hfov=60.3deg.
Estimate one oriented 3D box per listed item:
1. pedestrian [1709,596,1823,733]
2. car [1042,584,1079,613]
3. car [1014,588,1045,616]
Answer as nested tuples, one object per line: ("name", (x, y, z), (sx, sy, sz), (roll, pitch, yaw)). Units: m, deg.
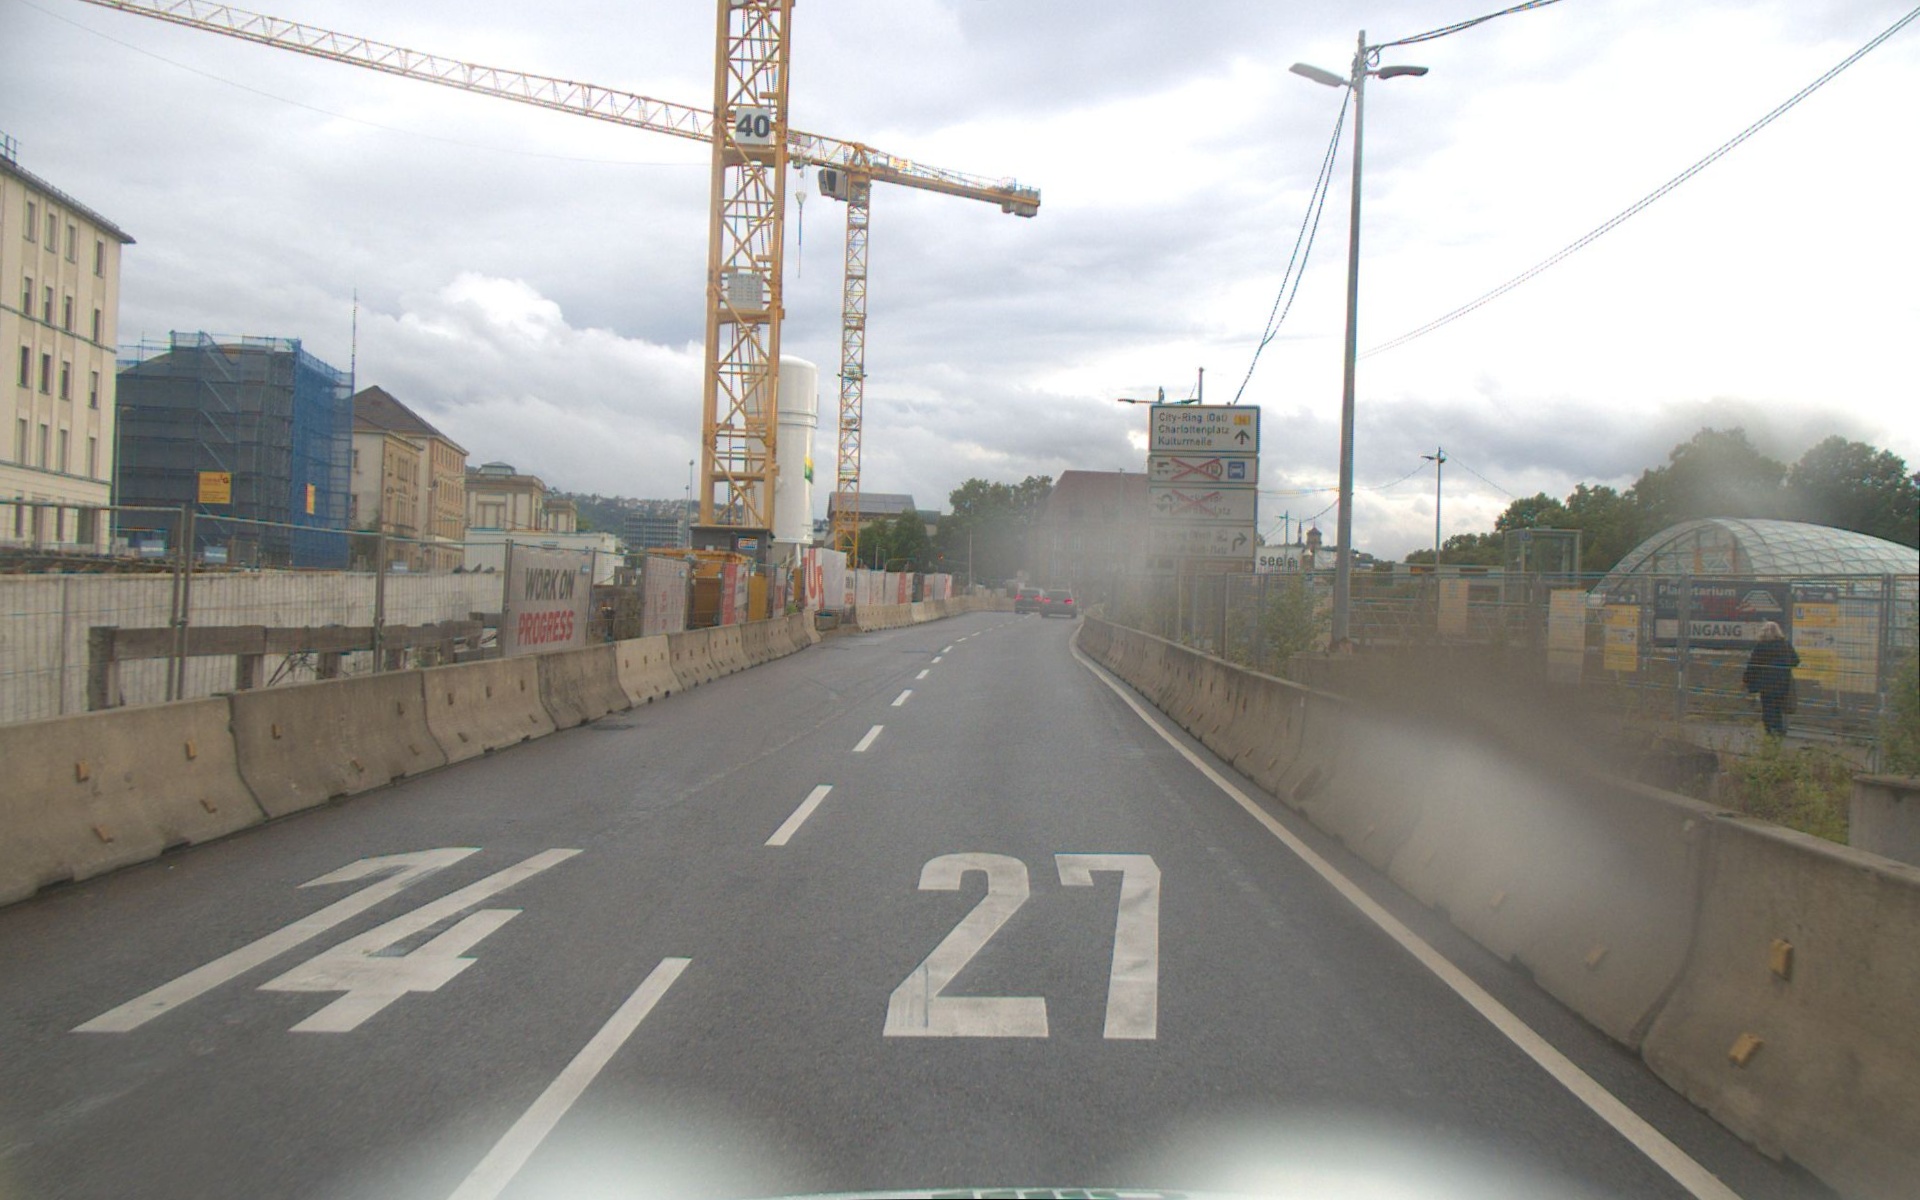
("pedestrian", (10.249, 0.807, 21.037), (1.008, 1.687, 0.891), (1, -1, -28))
("car", (5.260, -0.059, 87.363), (1.824, 1.458, 4.657), (2, 0, 3))
("car", (4.469, 0.120, 106.337), (1.824, 1.689, 4.659), (2, 0, 4))
